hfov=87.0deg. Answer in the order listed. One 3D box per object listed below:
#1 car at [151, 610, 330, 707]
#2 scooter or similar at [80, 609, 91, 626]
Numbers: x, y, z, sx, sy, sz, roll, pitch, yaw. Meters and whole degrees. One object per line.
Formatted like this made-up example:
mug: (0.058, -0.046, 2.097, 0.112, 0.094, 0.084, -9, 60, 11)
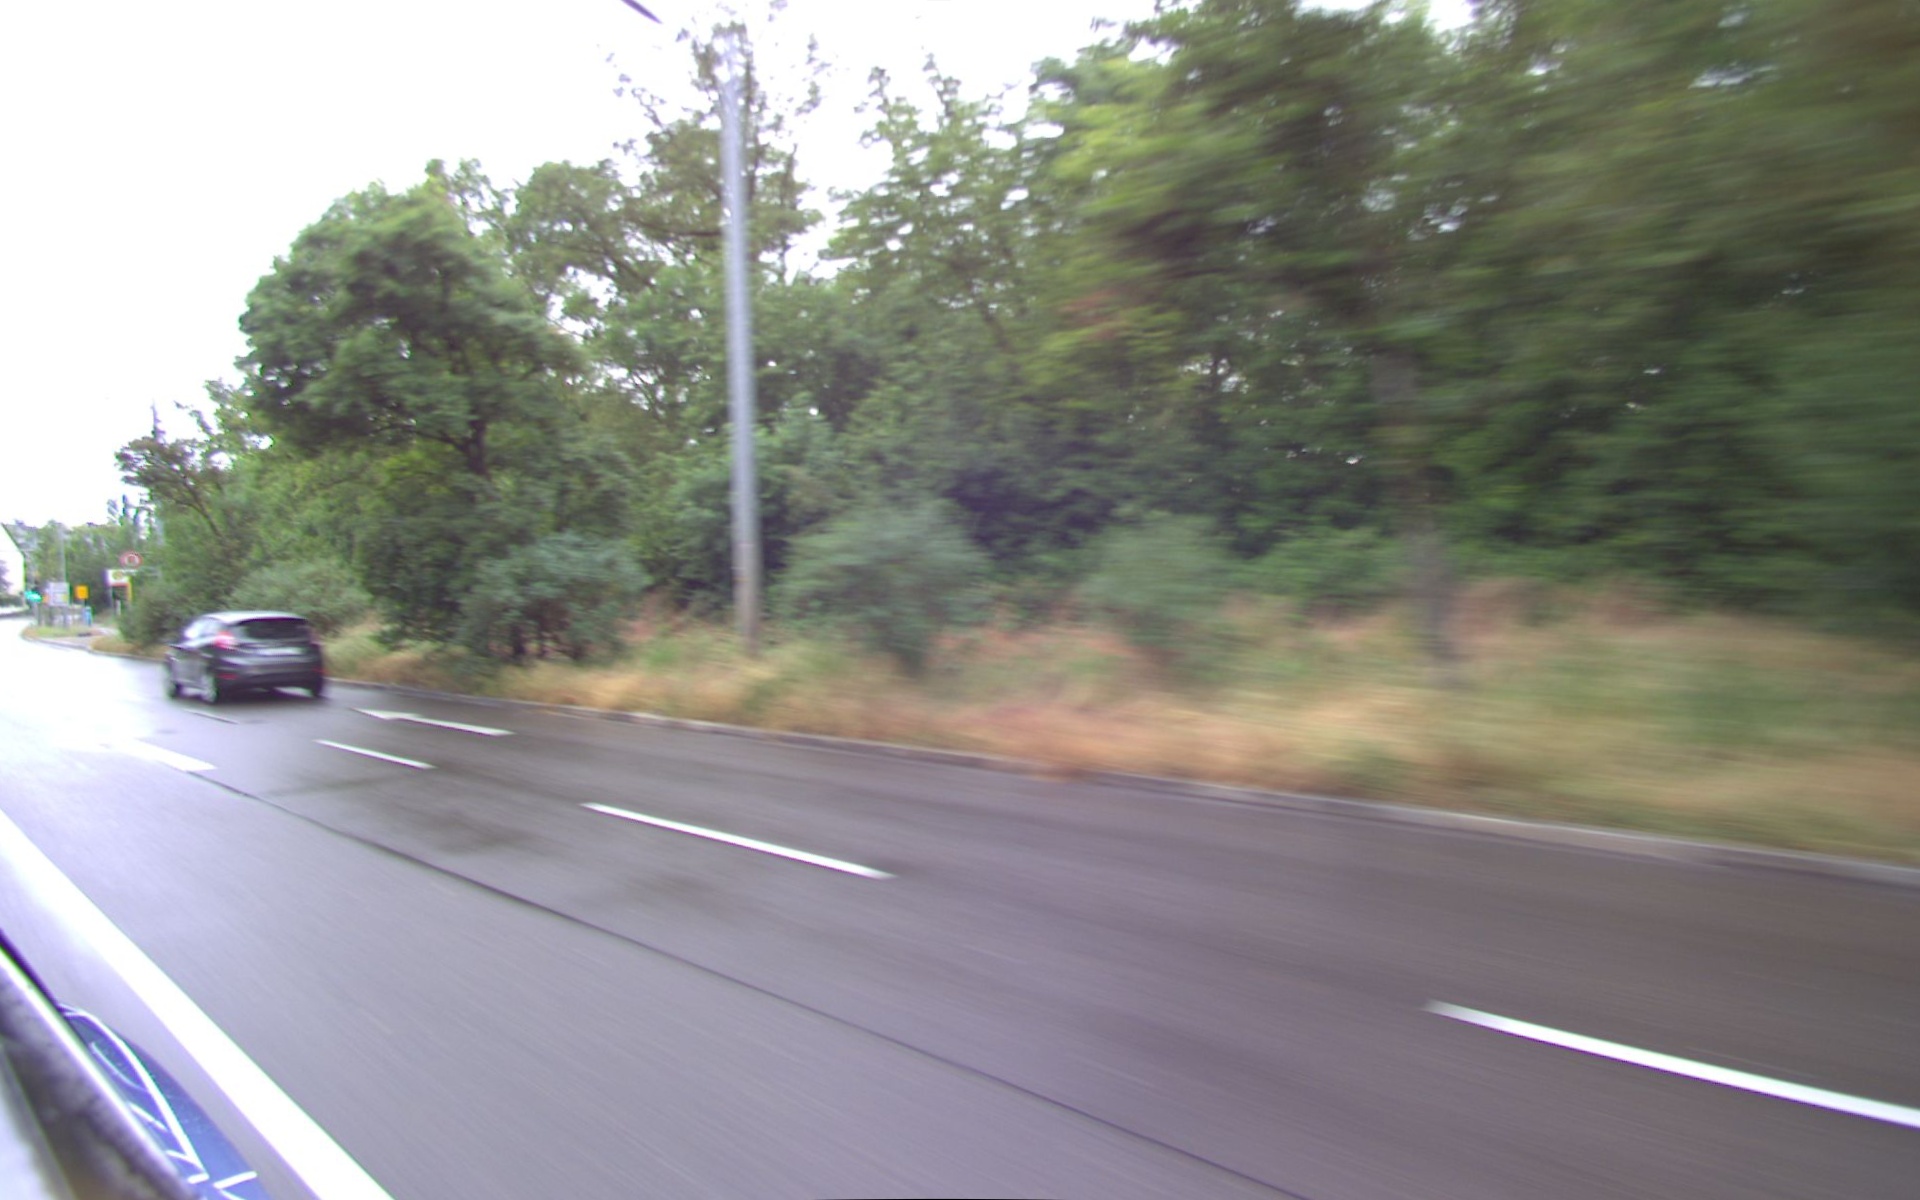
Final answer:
car: (-12.353, 0.926, 17.285, 3.988, 1.452, 1.582, -1, -1, 40)
scooter or similar: (-65.657, 1.312, 75.982, 0.510, 1.221, 1.472, -2, 1, -38)
